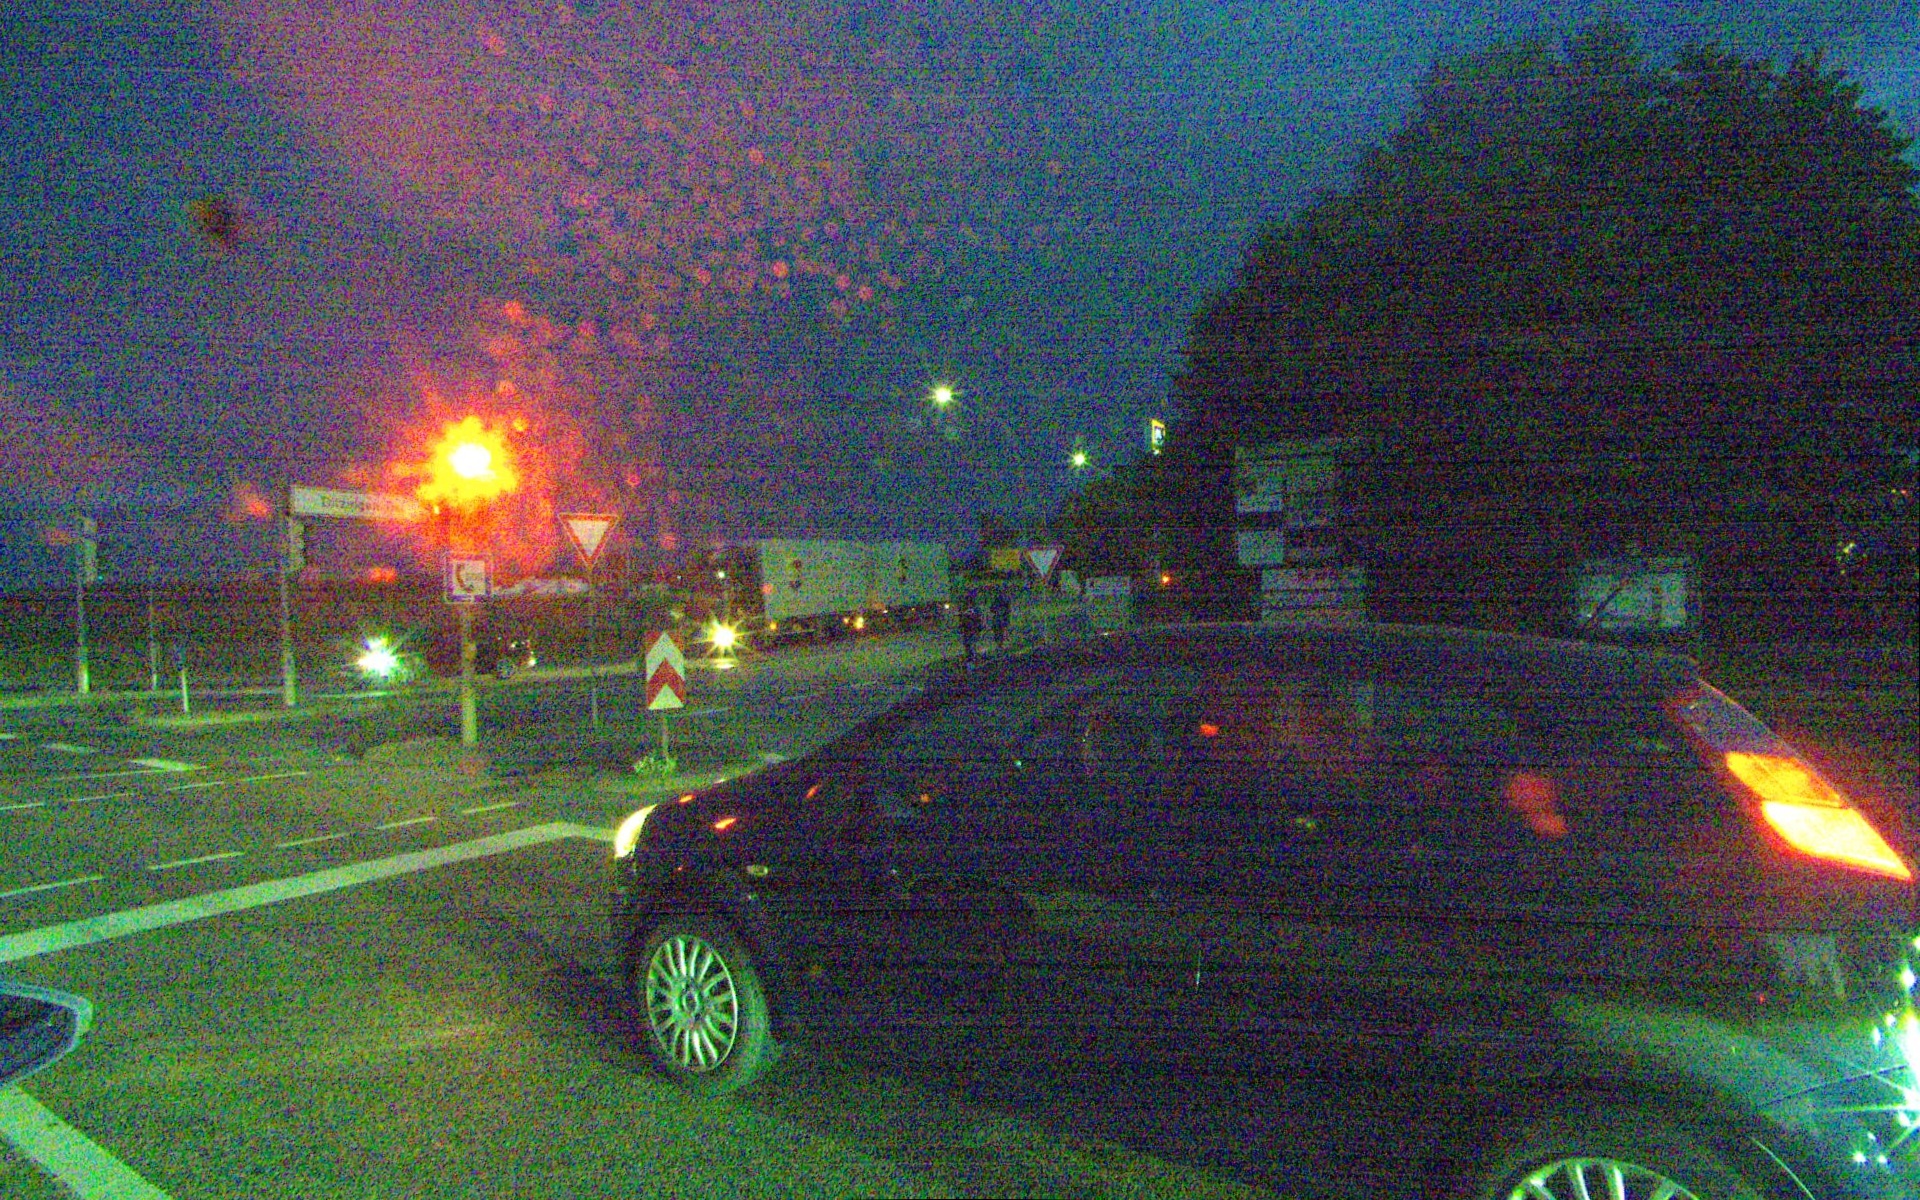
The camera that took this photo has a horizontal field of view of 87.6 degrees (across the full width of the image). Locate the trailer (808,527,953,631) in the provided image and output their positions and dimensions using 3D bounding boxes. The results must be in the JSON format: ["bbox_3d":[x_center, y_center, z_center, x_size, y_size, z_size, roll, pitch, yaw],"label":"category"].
[{"bbox_3d":[-3.445,-1.067,46.845,2.875,4.361,9.043,-1,2,22],"label":"trailer"}]

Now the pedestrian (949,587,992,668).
[{"bbox_3d":[0.249,0.637,23.912,0.861,1.859,0.731,-3,1,6],"label":"pedestrian"}]

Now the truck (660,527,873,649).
[{"bbox_3d":[-6.940,-0.440,38.211,2.876,4.033,10.042,-1,1,23],"label":"truck"}]

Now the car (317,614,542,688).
[{"bbox_3d":[-13.117,1.188,25.056,1.972,1.541,4.590,-1,1,33],"label":"car"}]

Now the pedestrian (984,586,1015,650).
[{"bbox_3d":[1.217,0.539,30.699,0.860,1.925,0.660,-1,1,6],"label":"pedestrian"}]

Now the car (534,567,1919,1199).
[{"bbox_3d":[0.610,0.757,3.145,4.049,1.540,1.666,-1,-1,34],"label":"car"}]
